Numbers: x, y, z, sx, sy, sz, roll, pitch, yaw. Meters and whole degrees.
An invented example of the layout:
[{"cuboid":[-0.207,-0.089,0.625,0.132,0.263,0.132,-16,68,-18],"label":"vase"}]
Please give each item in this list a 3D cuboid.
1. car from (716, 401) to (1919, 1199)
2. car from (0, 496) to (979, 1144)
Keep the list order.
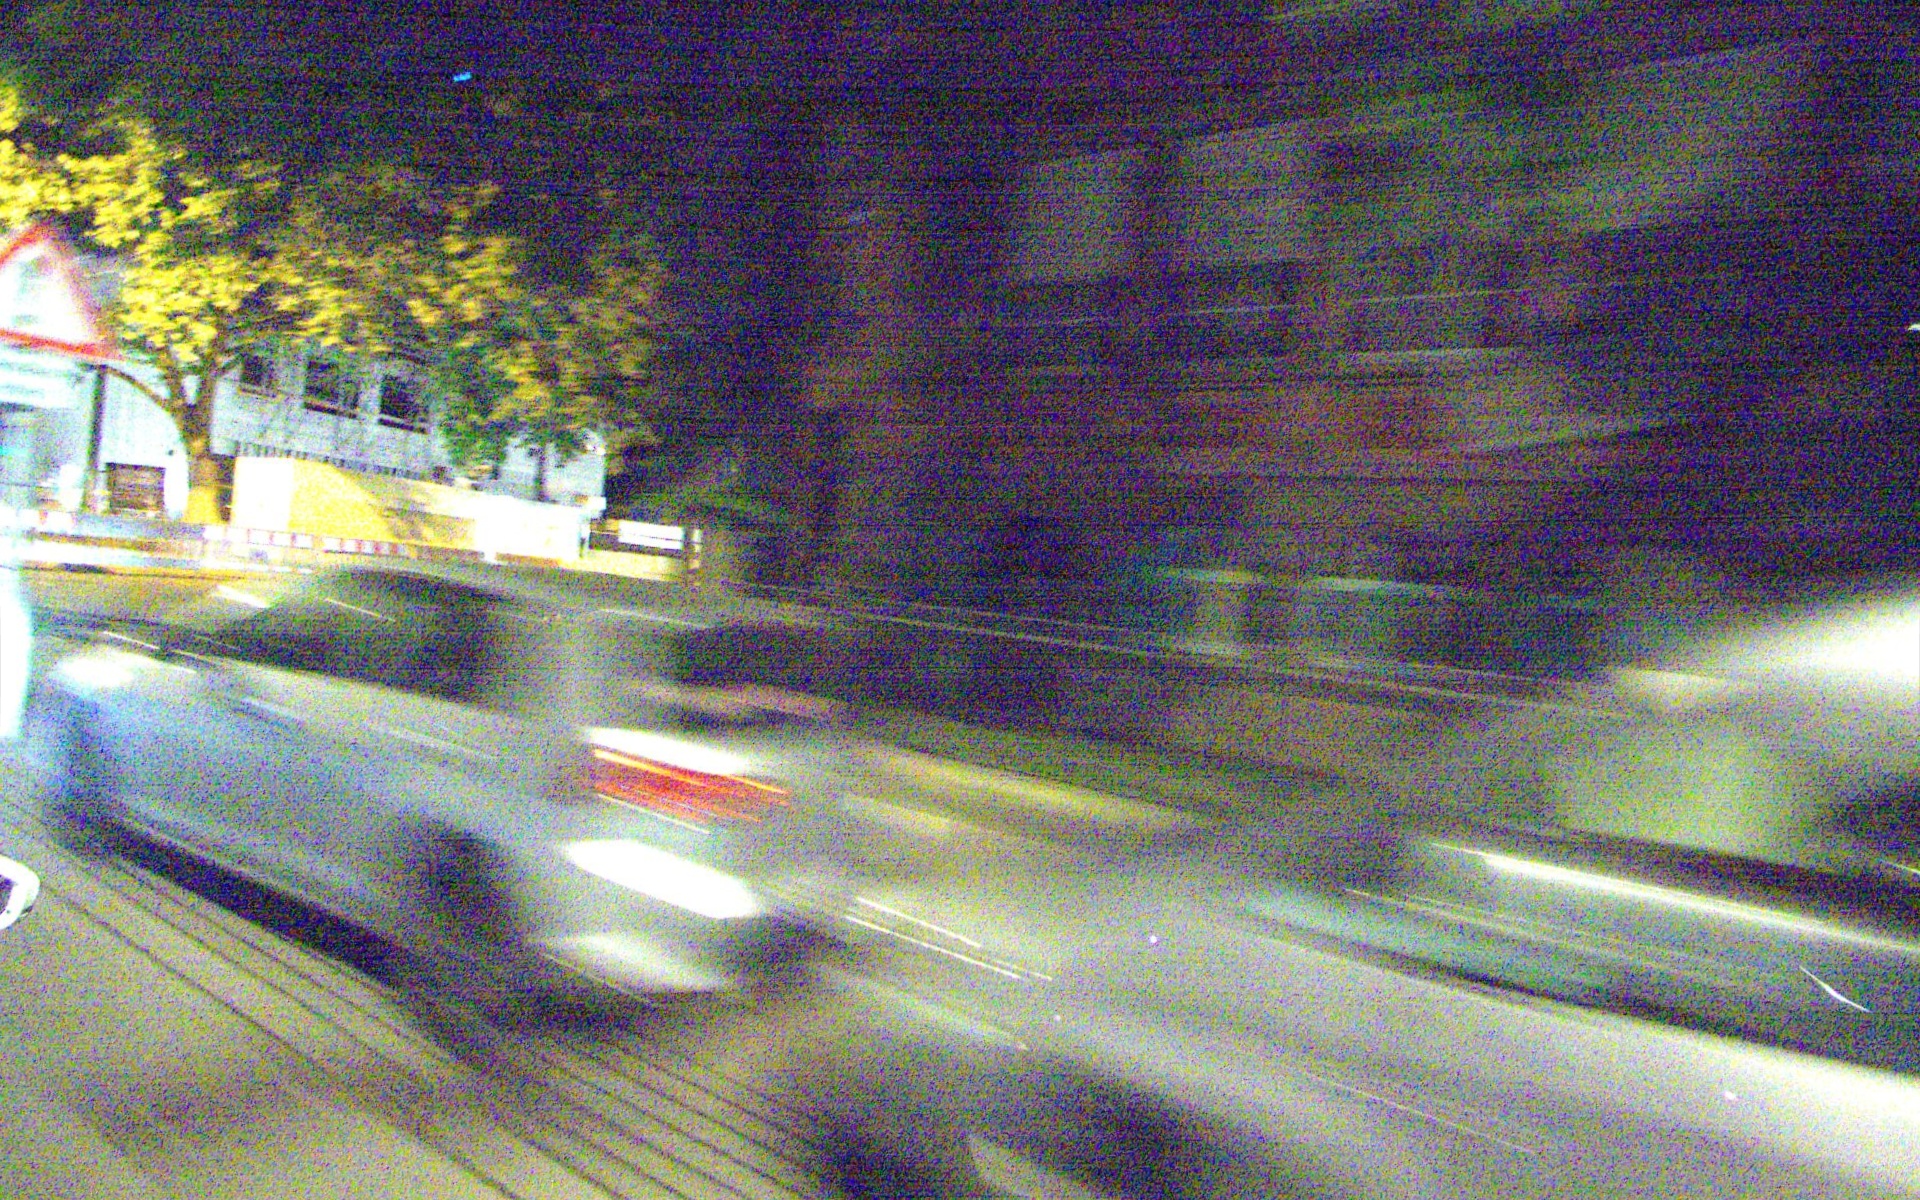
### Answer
[{"cuboid":[1.800,0.776,1.858,4.243,1.879,1.737,7,2,30],"label":"car"},{"cuboid":[-2.254,0.507,4.365,4.249,1.437,1.730,7,1,29],"label":"car"}]
